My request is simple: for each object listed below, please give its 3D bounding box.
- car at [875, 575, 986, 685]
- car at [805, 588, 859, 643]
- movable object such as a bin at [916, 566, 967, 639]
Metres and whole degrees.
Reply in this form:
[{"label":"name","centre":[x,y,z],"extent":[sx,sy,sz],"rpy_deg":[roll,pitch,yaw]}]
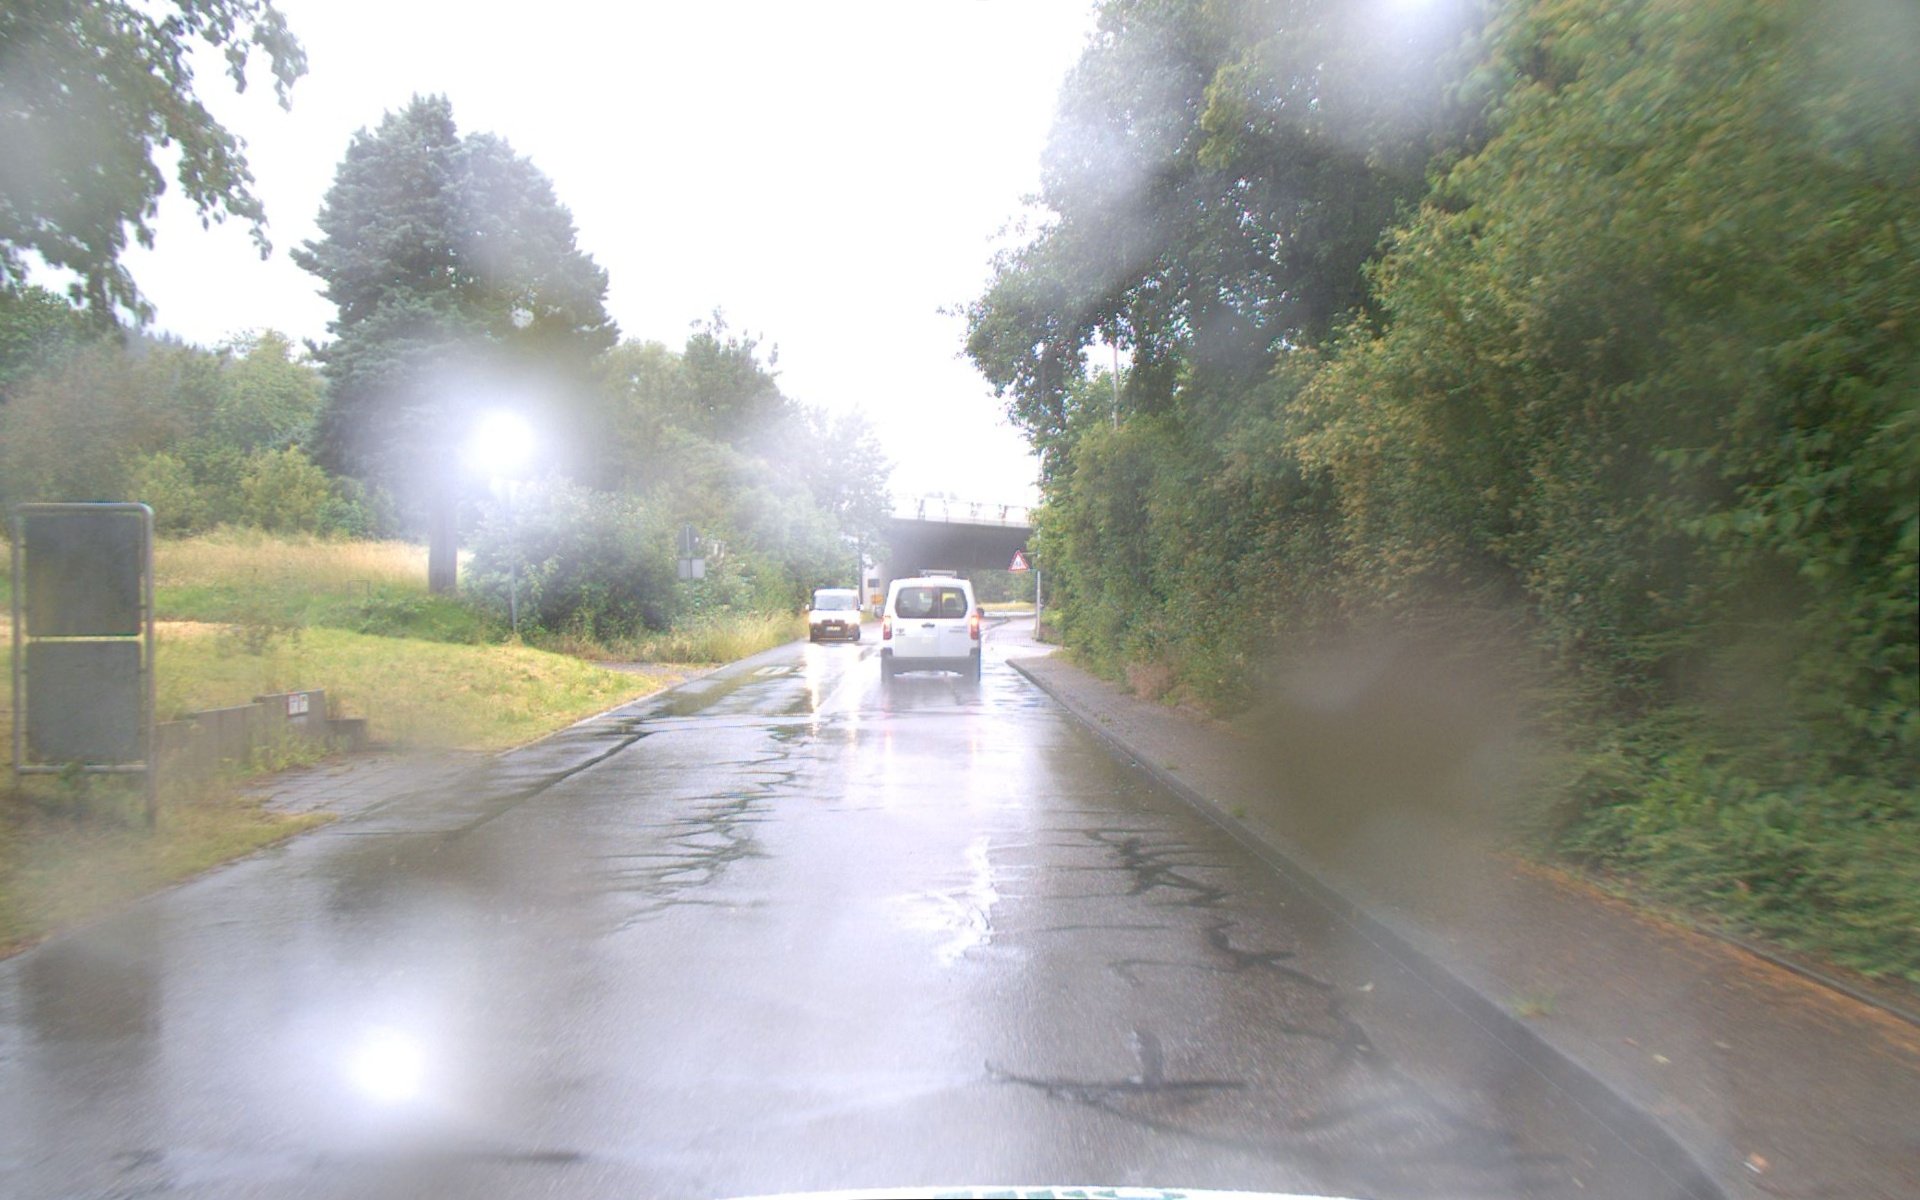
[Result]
[{"label":"car","centre":[-0.516,0.486,30.110],"extent":[1.858,1.838,4.000],"rpy_deg":[-1,1,-1]},{"label":"car","centre":[-4.515,0.535,58.835],"extent":[1.787,1.864,4.305],"rpy_deg":[0,0,-3]},{"label":"movable object such as a bin","centre":[-0.661,0.110,61.284],"extent":[1.725,2.592,4.239],"rpy_deg":[1,0,1]}]
